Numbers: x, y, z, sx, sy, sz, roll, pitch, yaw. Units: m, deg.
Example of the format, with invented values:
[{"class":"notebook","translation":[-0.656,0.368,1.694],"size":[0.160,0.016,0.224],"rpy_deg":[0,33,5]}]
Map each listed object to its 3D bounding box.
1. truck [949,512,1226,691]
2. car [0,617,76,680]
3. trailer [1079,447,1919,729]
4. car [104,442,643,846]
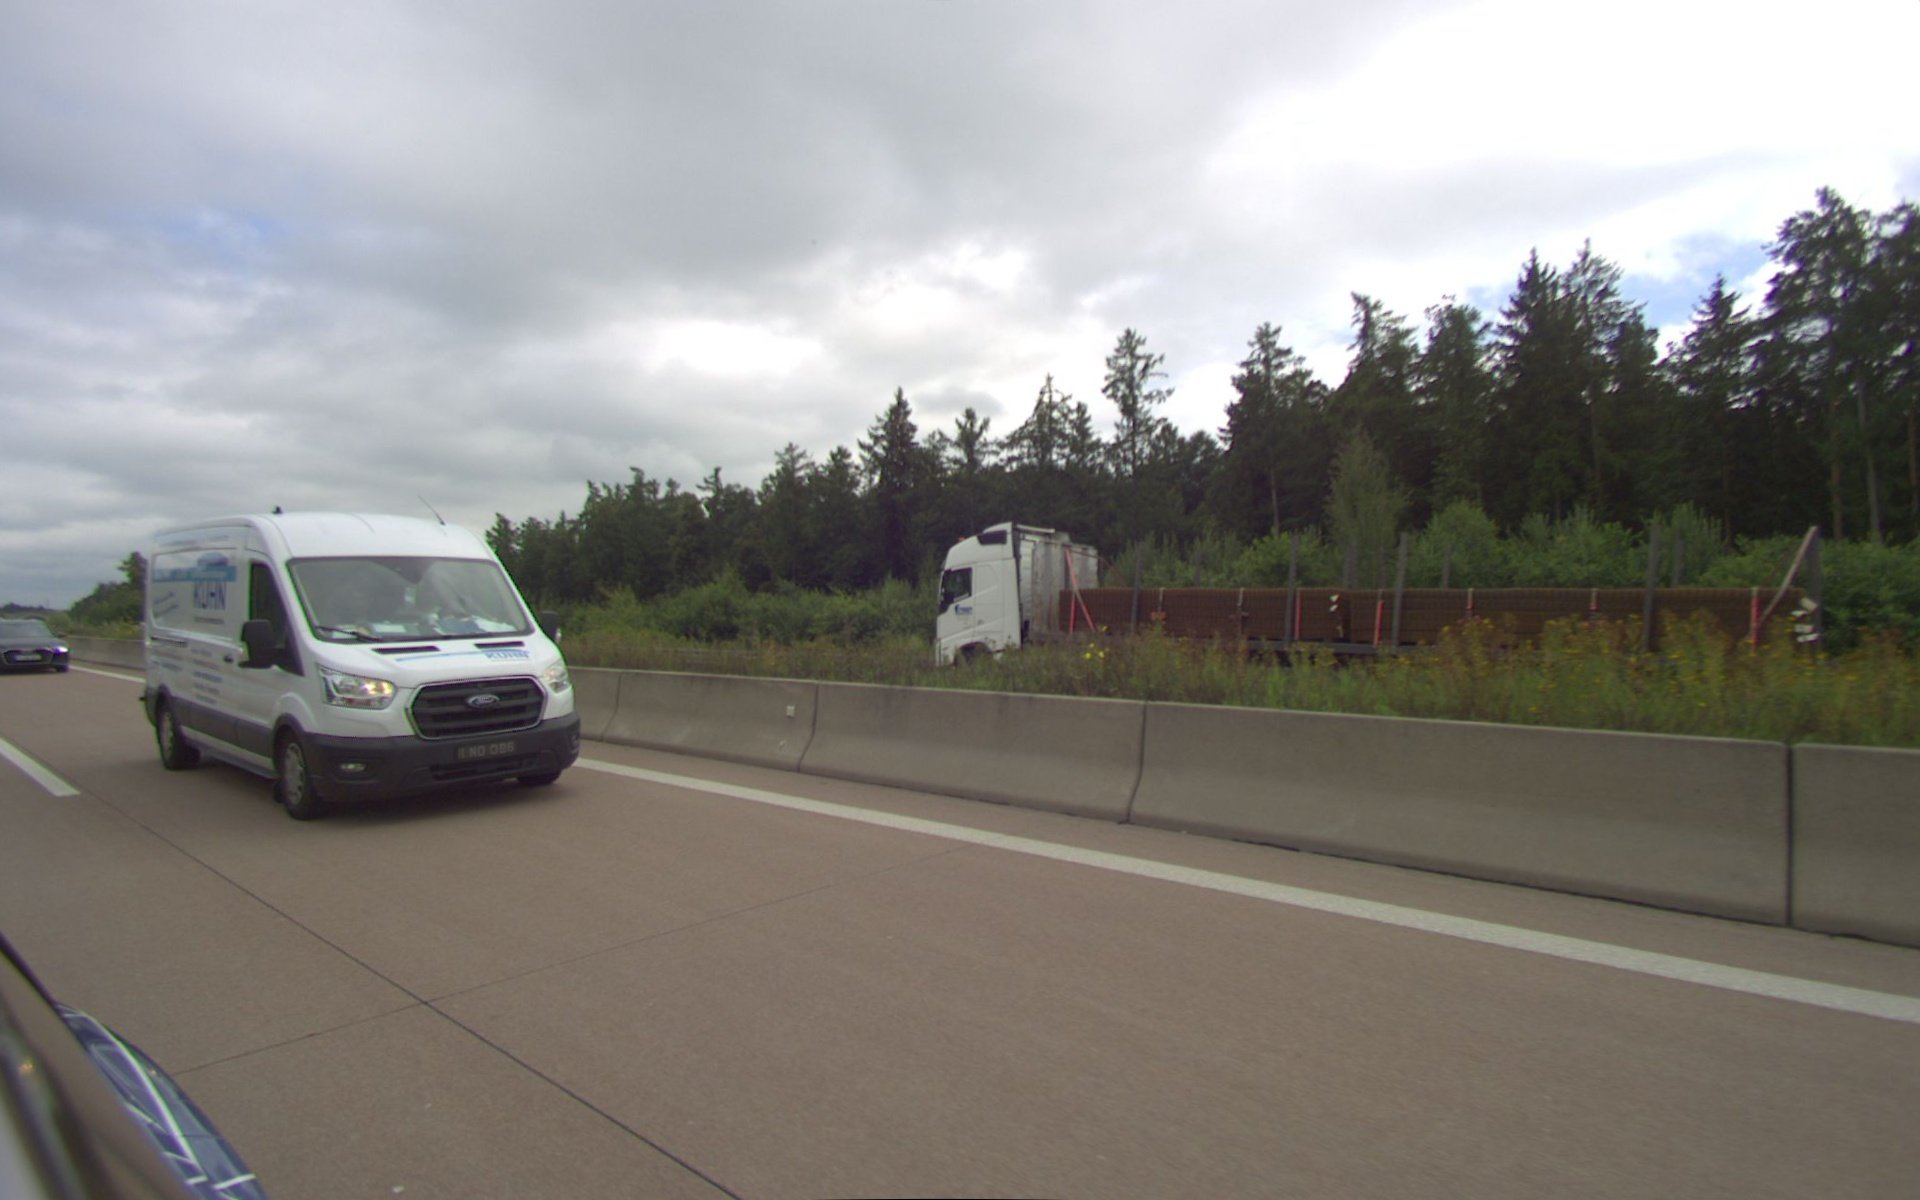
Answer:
[{"class":"truck","translation":[2.718,0.051,22.311],"size":[5.342,3.445,2.903],"rpy_deg":[-1,0,41]},{"class":"car","translation":[-26.283,1.287,28.043],"size":[5.673,1.562,2.063],"rpy_deg":[-1,0,42]},{"class":"trailer","translation":[8.369,-0.072,17.296],"size":[13.265,3.445,2.903],"rpy_deg":[-1,0,42]},{"class":"car","translation":[-5.883,0.337,9.462],"size":[7.126,2.526,2.116],"rpy_deg":[-1,-1,40]}]
